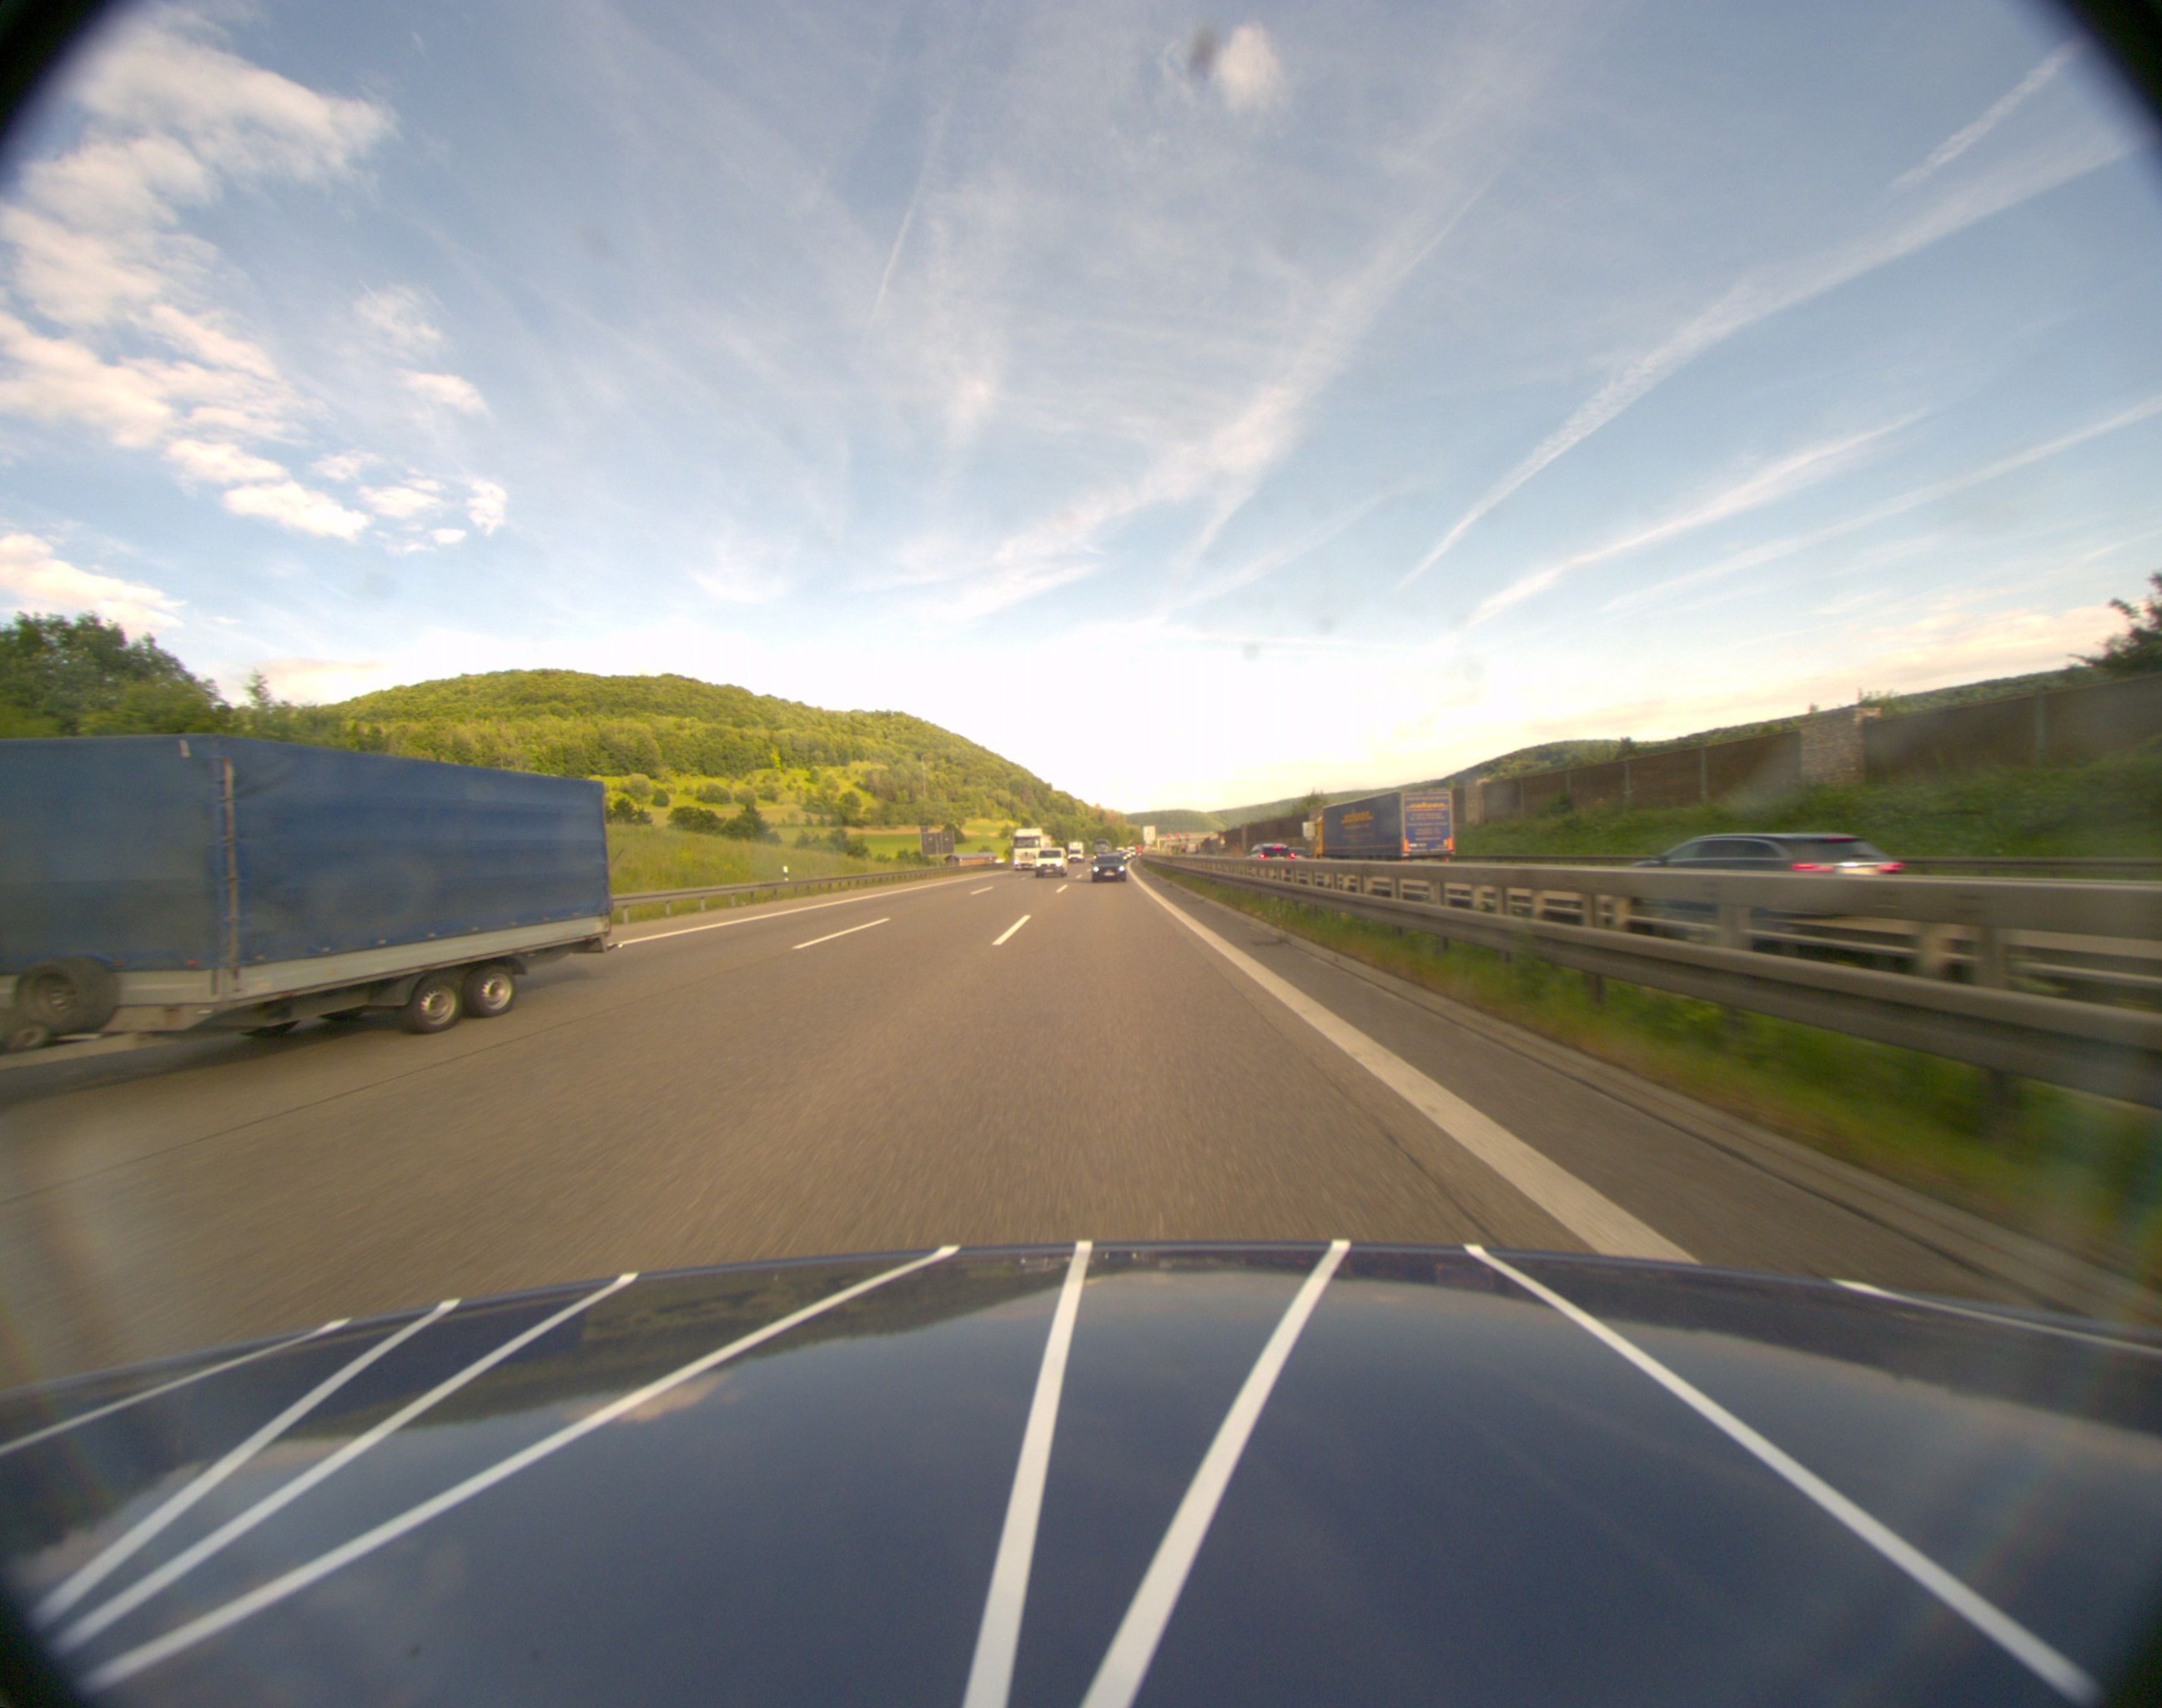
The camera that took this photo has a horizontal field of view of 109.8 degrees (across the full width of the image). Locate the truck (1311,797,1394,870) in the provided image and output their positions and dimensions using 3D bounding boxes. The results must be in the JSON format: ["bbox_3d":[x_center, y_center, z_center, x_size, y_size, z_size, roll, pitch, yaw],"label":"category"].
[{"bbox_3d":[17.310,-1.212,49.037,2.656,4.235,8.167,-2,0,2],"label":"truck"}]

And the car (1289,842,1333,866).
[{"bbox_3d":[14.700,-0.005,48.764,1.688,1.388,4.000,-2,0,1],"label":"car"}]

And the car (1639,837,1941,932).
[{"bbox_3d":[12.233,0.452,13.539,1.688,1.388,4.000,-2,0,1],"label":"car"}]

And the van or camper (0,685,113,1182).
[{"bbox_3d":[-6.948,0.444,0.824,1.998,2.701,7.523,-1,0,1],"label":"van or camper"}]

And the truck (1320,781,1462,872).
[{"bbox_3d":[17.184,-1.371,43.799,2.656,4.253,14.679,-2,0,2],"label":"truck"}]

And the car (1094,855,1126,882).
[{"bbox_3d":[1.530,0.733,40.739,1.580,1.310,4.000,-2,0,2],"label":"car"}]

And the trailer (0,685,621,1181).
[{"bbox_3d":[-6.802,0.443,6.778,1.998,2.710,5.249,-2,0,2],"label":"trailer"}]

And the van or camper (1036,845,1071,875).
[{"bbox_3d":[-1.819,0.384,51.497,1.998,1.881,4.487,-2,0,2],"label":"van or camper"}]

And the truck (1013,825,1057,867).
[{"bbox_3d":[-4.496,-0.784,77.254,2.925,3.876,13.011,-2,0,3],"label":"truck"}]

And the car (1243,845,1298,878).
[{"bbox_3d":[9.069,0.329,36.590,1.688,1.450,4.000,-2,0,1],"label":"car"}]

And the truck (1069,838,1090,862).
[{"bbox_3d":[-0.282,-0.632,120.978,2.709,3.627,9.030,-2,0,-4],"label":"truck"}]

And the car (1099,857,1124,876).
[{"bbox_3d":[3.041,1.215,76.785,2.000,1.870,3.998,-1,0,-6],"label":"car"}]
